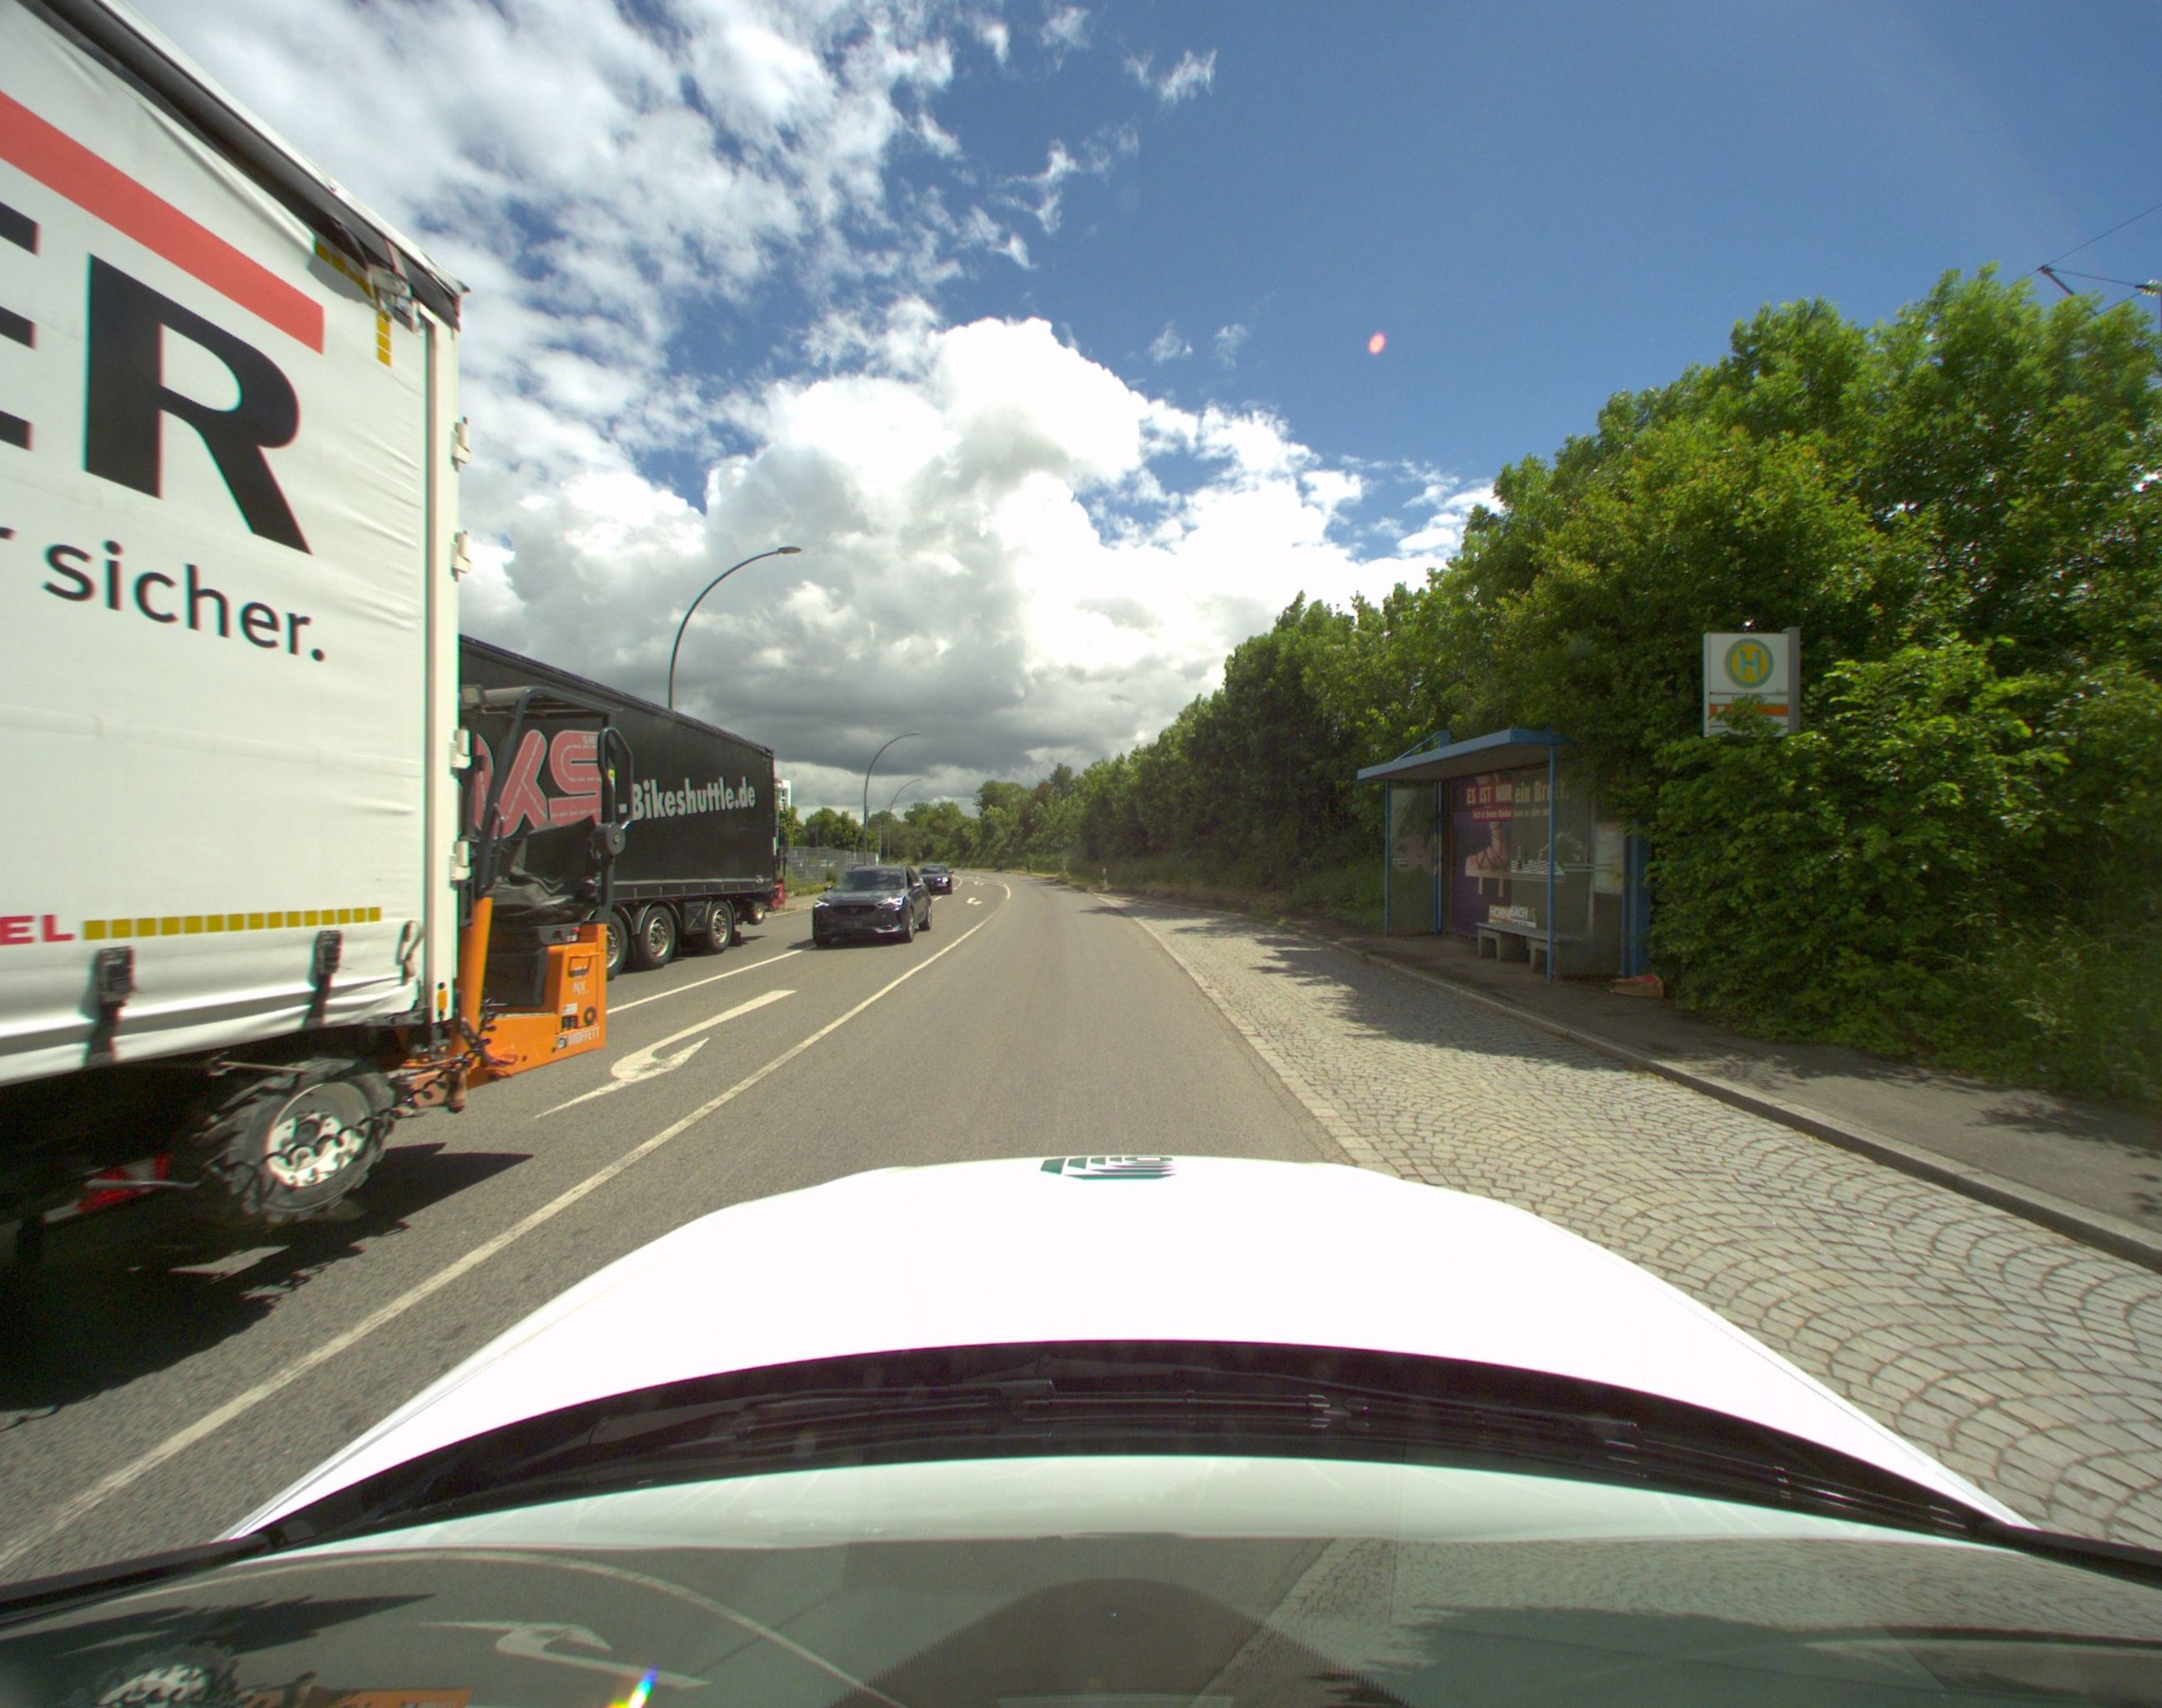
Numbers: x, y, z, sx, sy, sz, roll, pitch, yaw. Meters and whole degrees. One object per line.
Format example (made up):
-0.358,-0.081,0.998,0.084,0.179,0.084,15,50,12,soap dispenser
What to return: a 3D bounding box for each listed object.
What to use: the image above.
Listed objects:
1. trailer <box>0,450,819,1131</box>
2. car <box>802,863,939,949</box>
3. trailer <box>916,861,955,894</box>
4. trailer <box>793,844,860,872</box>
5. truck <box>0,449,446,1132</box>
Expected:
-7.677,-0.321,11.107,2.789,4.053,15.559,0,-1,1,trailer
-4.147,0.958,16.737,1.835,1.463,4.249,-2,0,-3,car
-6.911,1.099,38.945,1.646,1.423,3.989,-2,0,-8,trailer
-40.877,0.615,131.140,9.790,4.093,2.797,-2,0,-33,trailer
-7.815,-0.378,4.854,2.789,4.053,6.502,0,-1,1,truck
